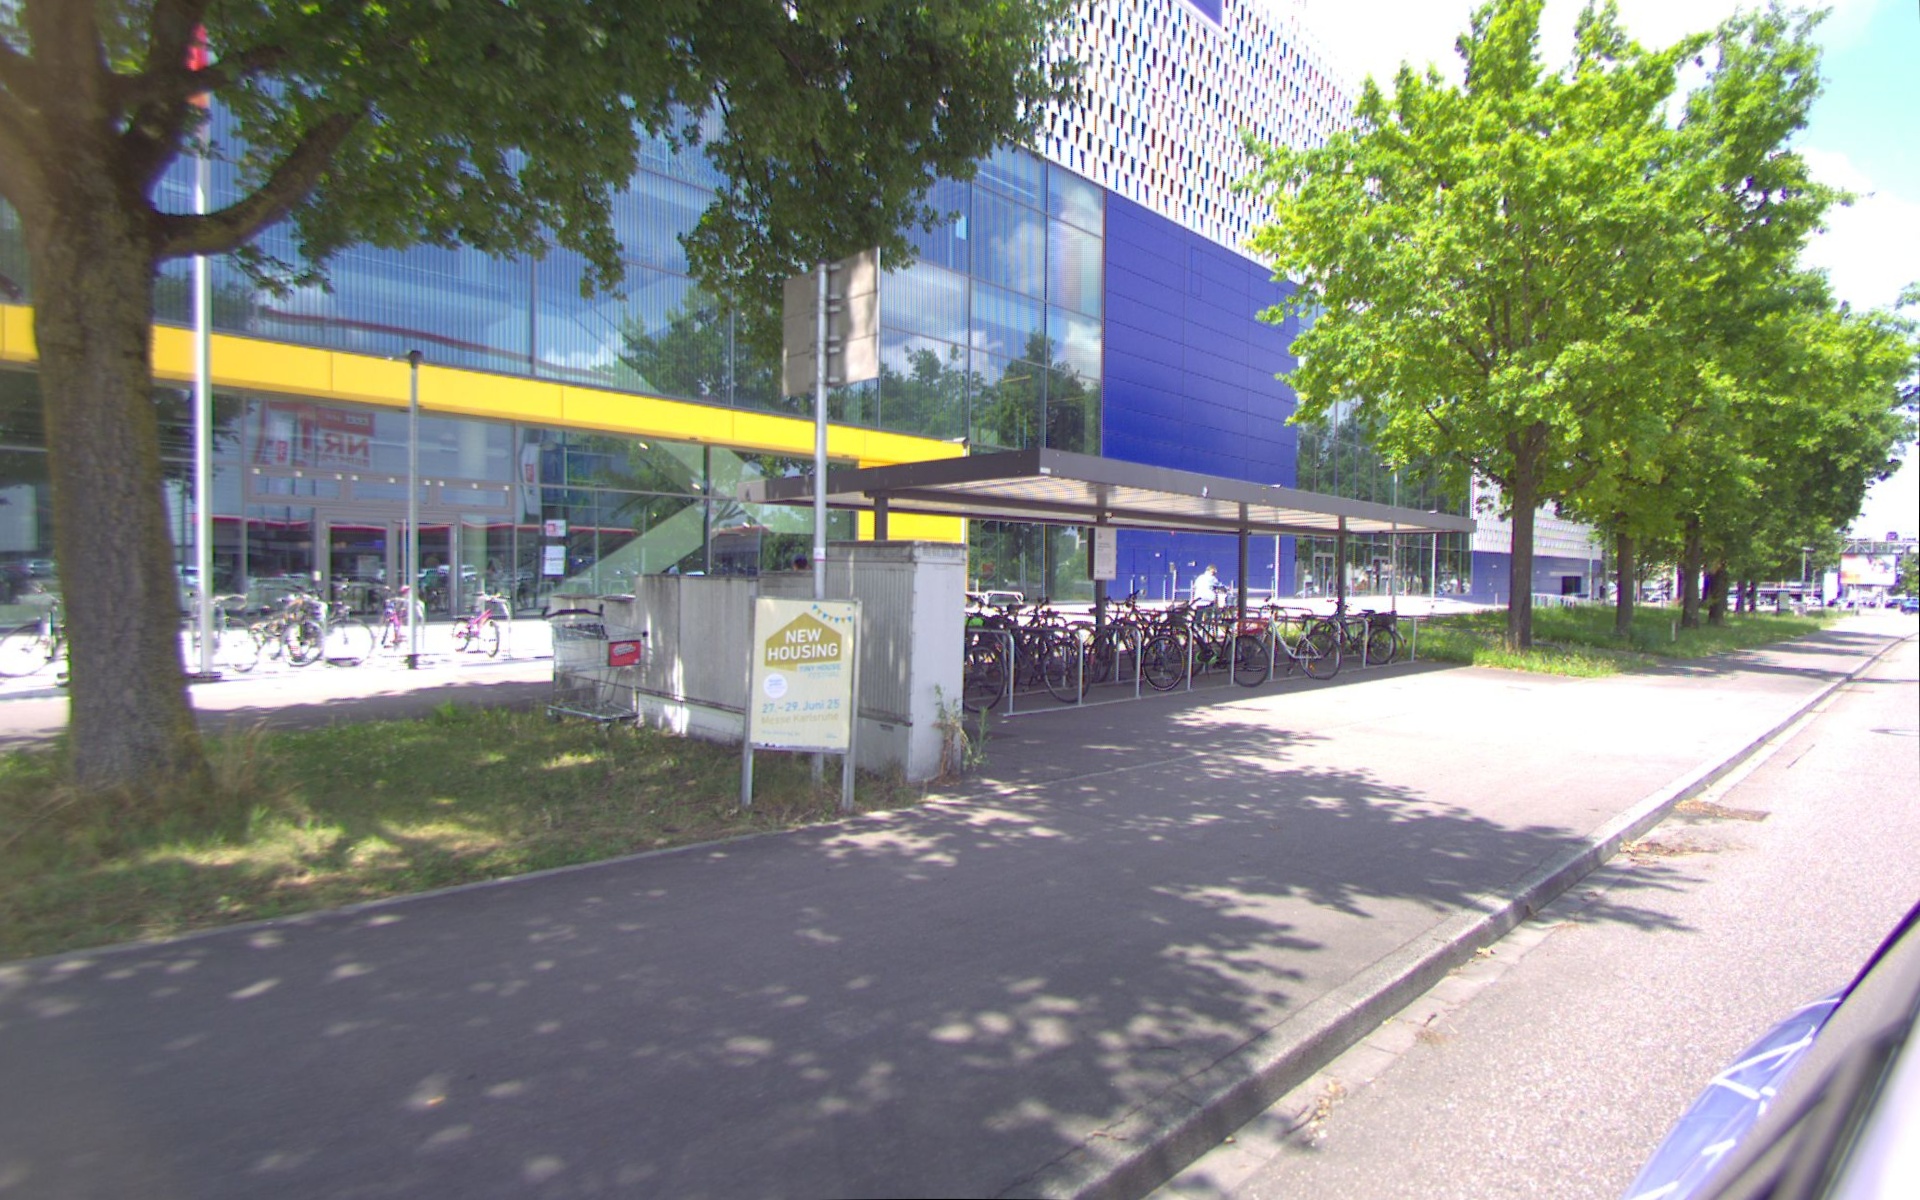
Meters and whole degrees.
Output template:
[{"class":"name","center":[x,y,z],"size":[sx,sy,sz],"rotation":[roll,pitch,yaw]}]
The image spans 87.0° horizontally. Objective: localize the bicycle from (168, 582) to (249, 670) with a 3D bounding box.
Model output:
[{"class":"bicycle","center":[-9.586,0.301,12.887],"size":[1.861,1.007,0.458],"rotation":[2,1,42]}]

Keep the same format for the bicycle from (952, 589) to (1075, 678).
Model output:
[{"class":"bicycle","center":[0.735,0.441,14.380],"size":[1.860,1.129,0.417],"rotation":[3,2,41]}]

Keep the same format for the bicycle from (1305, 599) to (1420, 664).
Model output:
[{"class":"bicycle","center":[7.271,0.549,18.358],"size":[1.861,1.007,0.417],"rotation":[5,3,41]}]

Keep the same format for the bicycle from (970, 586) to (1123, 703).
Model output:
[{"class":"bicycle","center":[0.967,0.472,11.747],"size":[1.861,1.202,0.417],"rotation":[3,2,41]}]

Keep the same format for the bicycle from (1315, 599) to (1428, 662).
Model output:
[{"class":"bicycle","center":[7.588,0.543,18.724],"size":[1.861,1.007,0.417],"rotation":[5,3,41]}]

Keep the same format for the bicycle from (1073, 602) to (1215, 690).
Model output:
[{"class":"bicycle","center":[2.392,0.574,13.330],"size":[1.861,1.007,0.417],"rotation":[4,2,41]}]

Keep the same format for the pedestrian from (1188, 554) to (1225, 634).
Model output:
[{"class":"pedestrian","center":[5.473,-0.143,22.462],"size":[0.622,1.742,0.525],"rotation":[1,2,-6]}]

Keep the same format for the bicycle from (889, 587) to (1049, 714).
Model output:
[{"class":"bicycle","center":[0.060,0.493,10.821],"size":[1.860,1.202,0.417],"rotation":[3,1,41]}]

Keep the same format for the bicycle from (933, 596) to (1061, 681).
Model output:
[{"class":"bicycle","center":[0.469,0.491,13.720],"size":[1.861,1.007,0.417],"rotation":[4,2,41]}]

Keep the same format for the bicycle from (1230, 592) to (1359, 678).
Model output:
[{"class":"bicycle","center":[5.150,0.506,15.687],"size":[0.416,1.184,1.899],"rotation":[1,2,-43]}]

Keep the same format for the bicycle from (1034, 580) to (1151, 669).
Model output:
[{"class":"bicycle","center":[2.026,0.352,15.698],"size":[1.861,1.246,0.417],"rotation":[3,2,41]}]

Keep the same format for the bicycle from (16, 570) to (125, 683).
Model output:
[{"class":"bicycle","center":[-10.175,0.269,11.560],"size":[1.669,1.171,0.456],"rotation":[3,1,32]}]

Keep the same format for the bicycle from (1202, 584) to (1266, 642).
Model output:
[{"class":"bicycle","center":[5.878,0.257,21.841],"size":[0.565,1.121,2.018],"rotation":[2,3,-7]}]

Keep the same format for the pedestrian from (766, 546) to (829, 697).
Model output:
[{"class":"pedestrian","center":[-1.872,0.232,11.633],"size":[0.535,1.683,0.546],"rotation":[0,1,-34]}]

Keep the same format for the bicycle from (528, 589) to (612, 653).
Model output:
[{"class":"bicycle","center":[-6.218,0.307,16.084],"size":[1.861,0.893,0.417],"rotation":[4,3,41]}]

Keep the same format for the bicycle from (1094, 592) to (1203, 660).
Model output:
[{"class":"bicycle","center":[3.221,0.428,17.438],"size":[1.861,1.006,0.417],"rotation":[4,4,41]}]

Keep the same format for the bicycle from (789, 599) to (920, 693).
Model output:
[{"class":"bicycle","center":[-1.322,0.531,12.379],"size":[1.860,1.007,0.417],"rotation":[3,1,41]}]

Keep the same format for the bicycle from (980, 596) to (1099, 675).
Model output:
[{"class":"bicycle","center":[1.145,0.493,14.874],"size":[1.860,1.007,0.417],"rotation":[3,3,41]}]

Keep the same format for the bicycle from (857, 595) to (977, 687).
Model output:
[{"class":"bicycle","center":[-0.589,0.495,13.040],"size":[0.416,1.047,1.864],"rotation":[1,2,-43]}]

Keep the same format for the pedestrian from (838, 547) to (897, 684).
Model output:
[{"class":"pedestrian","center":[-1.177,0.181,12.824],"size":[0.544,1.683,0.470],"rotation":[2,1,44]}]

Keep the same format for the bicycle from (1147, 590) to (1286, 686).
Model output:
[{"class":"bicycle","center":[3.560,0.497,14.180],"size":[1.861,1.202,0.417],"rotation":[3,2,41]}]

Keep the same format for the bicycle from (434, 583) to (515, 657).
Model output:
[{"class":"bicycle","center":[-7.358,0.272,15.300],"size":[1.860,1.007,0.417],"rotation":[3,2,41]}]

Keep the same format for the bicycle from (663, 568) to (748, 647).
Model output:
[{"class":"bicycle","center":[-4.480,0.092,17.688],"size":[0.707,1.244,2.148],"rotation":[1,2,-34]}]

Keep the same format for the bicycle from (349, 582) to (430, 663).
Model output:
[{"class":"bicycle","center":[-8.173,0.289,14.467],"size":[1.861,1.006,0.417],"rotation":[4,4,41]}]
